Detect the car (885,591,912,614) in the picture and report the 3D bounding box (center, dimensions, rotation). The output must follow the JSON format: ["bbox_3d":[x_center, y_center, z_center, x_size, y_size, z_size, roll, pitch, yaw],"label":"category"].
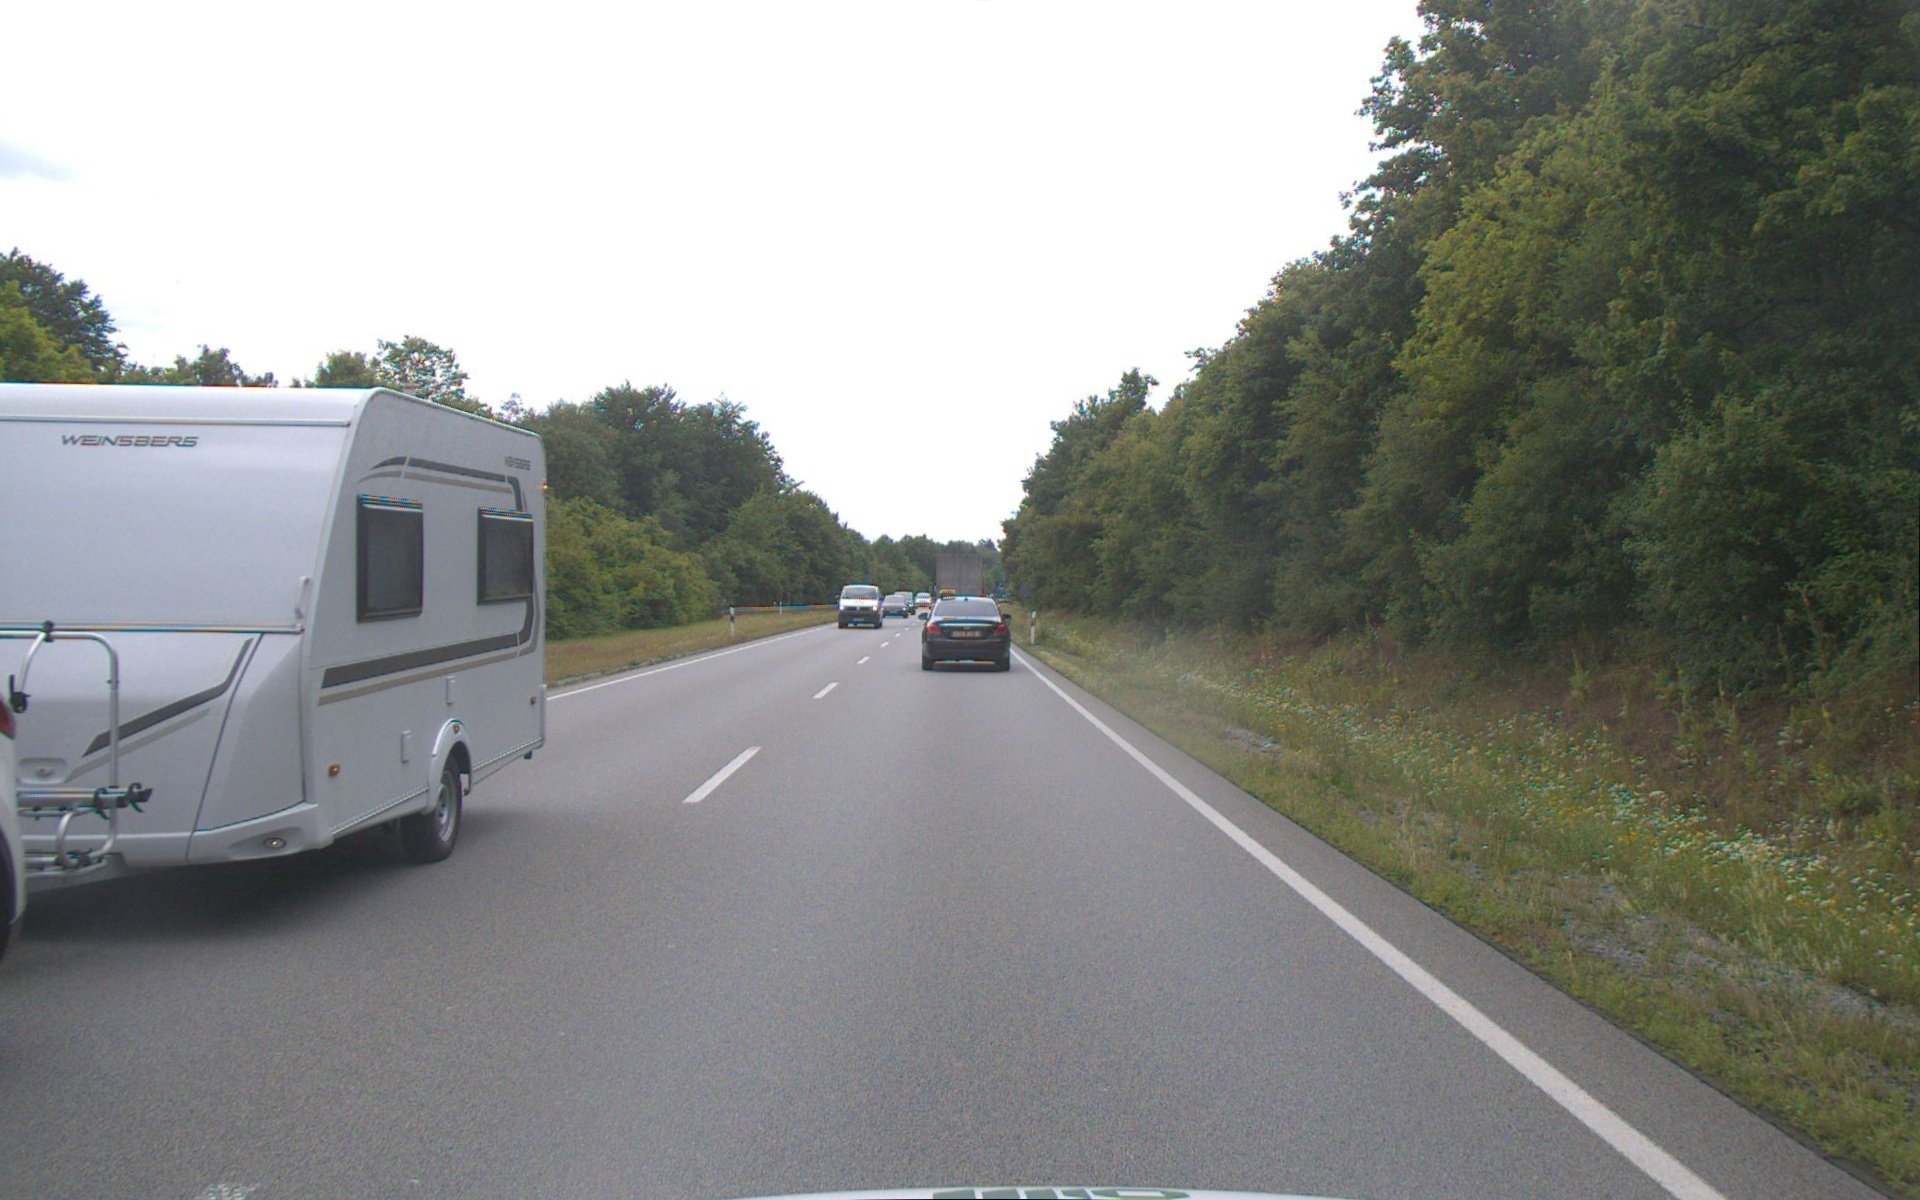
[{"bbox_3d":[-4.065,0.161,110.381,1.654,1.505,4.455,1,0,0],"label":"car"}]

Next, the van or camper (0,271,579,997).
[{"bbox_3d":[-3.955,0.114,9.110,2.331,2.620,6.278,1,0,-1],"label":"van or camper"}]

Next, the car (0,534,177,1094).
[{"bbox_3d":[-3.881,0.607,3.519,2.232,1.631,4.690,1,0,-1],"label":"car"}]

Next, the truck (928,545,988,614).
[{"bbox_3d":[-0.061,-1.114,94.958,3.213,3.675,11.400,1,0,1],"label":"truck"}]

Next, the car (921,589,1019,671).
[{"bbox_3d":[0.151,0.595,34.463,1.756,1.579,3.997,1,0,-3],"label":"car"}]

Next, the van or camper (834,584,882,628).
[{"bbox_3d":[-4.654,0.265,75.961,1.882,1.926,5.361,1,0,0],"label":"van or camper"}]

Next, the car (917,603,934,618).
[{"bbox_3d":[-3.752,1.159,180.850,1.837,1.587,3.754,1,0,0],"label":"car"}]
